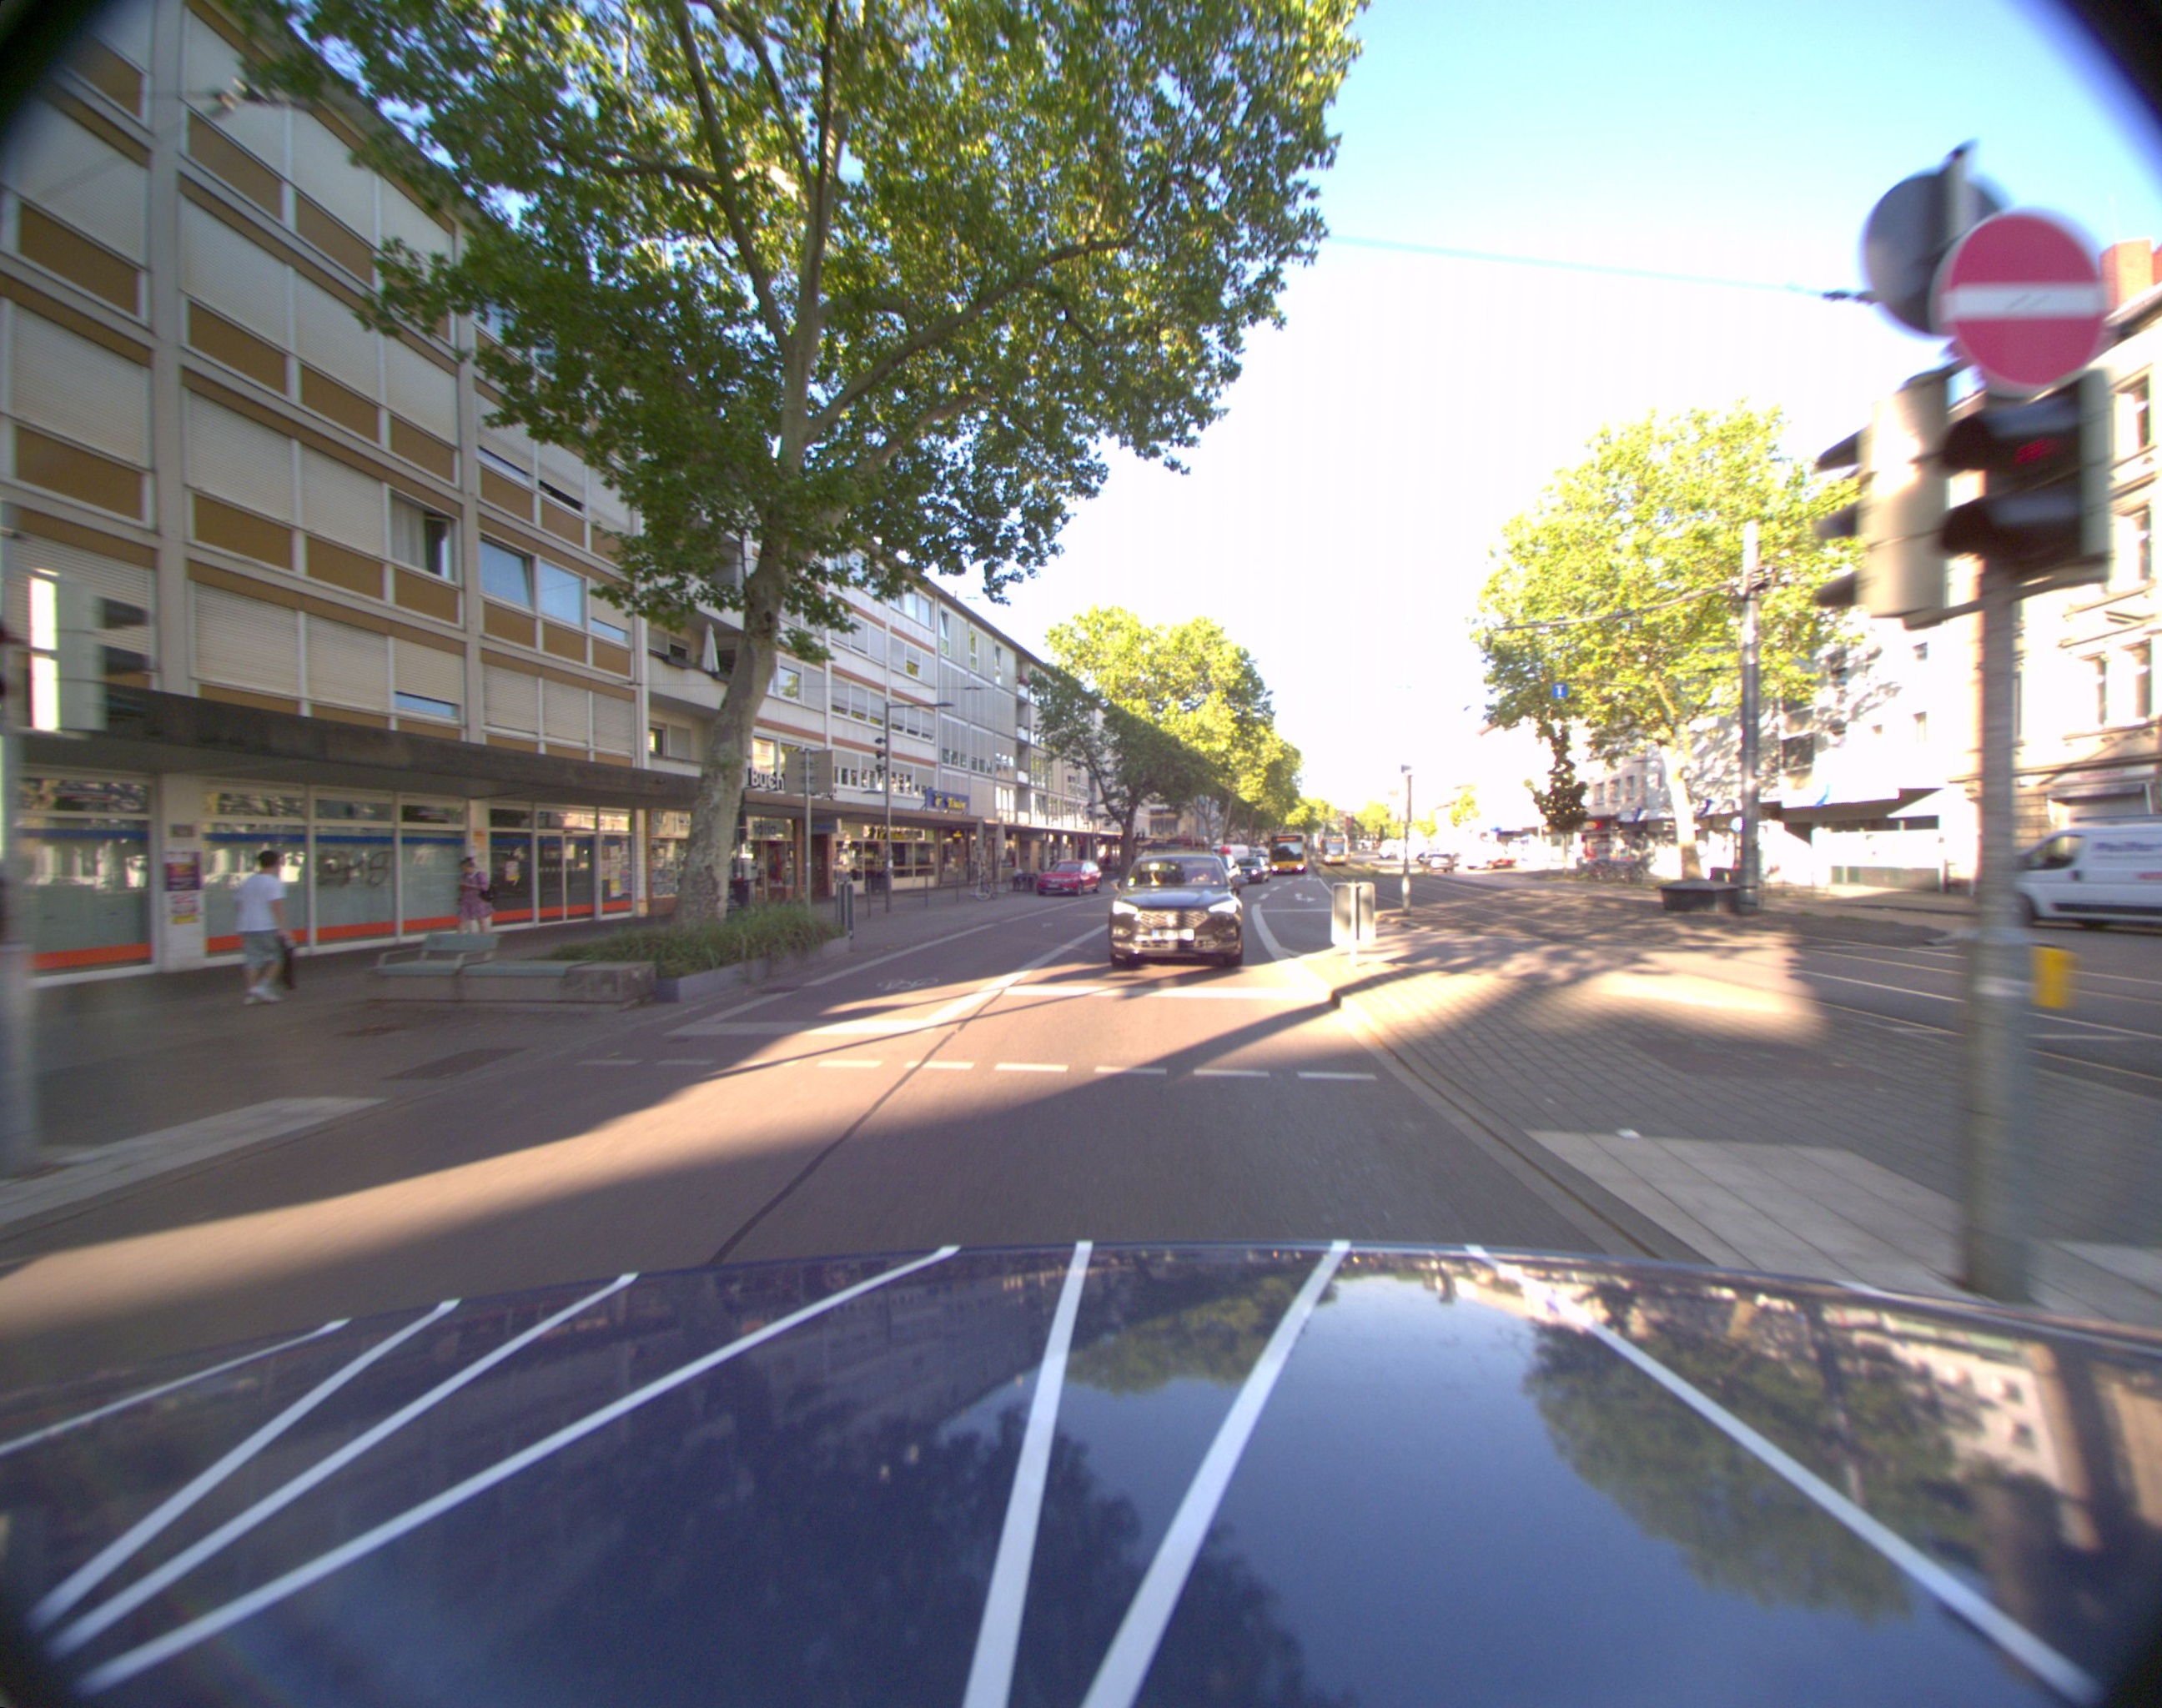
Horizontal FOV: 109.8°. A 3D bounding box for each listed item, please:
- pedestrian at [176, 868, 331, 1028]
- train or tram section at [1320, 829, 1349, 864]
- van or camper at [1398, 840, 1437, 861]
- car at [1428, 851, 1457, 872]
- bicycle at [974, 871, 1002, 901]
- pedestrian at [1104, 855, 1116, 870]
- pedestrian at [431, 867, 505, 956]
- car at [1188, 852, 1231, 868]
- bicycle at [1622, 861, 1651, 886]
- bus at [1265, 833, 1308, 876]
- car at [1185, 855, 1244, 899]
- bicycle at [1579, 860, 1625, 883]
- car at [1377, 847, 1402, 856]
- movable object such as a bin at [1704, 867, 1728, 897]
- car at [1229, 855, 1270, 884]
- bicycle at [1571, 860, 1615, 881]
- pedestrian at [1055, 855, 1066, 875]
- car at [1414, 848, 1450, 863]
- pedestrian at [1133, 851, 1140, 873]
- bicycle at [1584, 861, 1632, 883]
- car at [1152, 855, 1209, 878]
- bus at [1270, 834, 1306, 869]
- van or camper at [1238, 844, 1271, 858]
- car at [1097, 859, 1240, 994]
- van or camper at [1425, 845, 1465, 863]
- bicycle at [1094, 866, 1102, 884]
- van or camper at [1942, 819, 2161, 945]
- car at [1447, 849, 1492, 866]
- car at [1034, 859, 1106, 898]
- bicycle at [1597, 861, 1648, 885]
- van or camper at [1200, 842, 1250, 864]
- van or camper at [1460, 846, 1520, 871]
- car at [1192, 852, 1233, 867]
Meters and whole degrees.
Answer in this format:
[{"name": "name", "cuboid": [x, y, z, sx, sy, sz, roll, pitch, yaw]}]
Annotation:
[{"name": "pedestrian", "cuboid": [-9.307, 1.022, 8.586, 0.837, 1.702, 0.793, 1, 0, -3]}, {"name": "train or tram section", "cuboid": [27.356, -0.817, 81.829, 2.635, 3.430, 11.145, -2, 0, 19]}, {"name": "van or camper", "cuboid": [47.896, -0.482, 108.080, 6.409, 2.651, 1.995, -2, 0, -36]}, {"name": "car", "cuboid": [27.323, 0.541, 57.373, 1.887, 1.464, 4.214, -1, 0, 26]}, {"name": "bicycle", "cuboid": [-3.532, 1.197, 29.009, 0.512, 1.064, 1.663, 1, 1, 12]}, {"name": "pedestrian", "cuboid": [2.533, 0.748, 66.957, 0.749, 1.354, 0.964, 0, 1, 21]}, {"name": "pedestrian", "cuboid": [-11.073, 1.014, 13.745, 0.640, 1.543, 0.808, 1, 1, 8]}, {"name": "car", "cuboid": [12.976, 0.587, 76.836, 4.005, 1.514, 1.656, 0, 2, -24]}, {"name": "bicycle", "cuboid": [25.751, 0.889, 35.232, 0.509, 1.117, 1.913, -1, 0, 18]}, {"name": "bus", "cuboid": [16.414, -0.127, 60.518, 2.869, 2.961, 12.252, -3, 1, 15]}, {"name": "car", "cuboid": [5.257, 0.836, 29.553, 1.656, 1.571, 4.005, -1, 0, 18]}, {"name": "bicycle", "cuboid": [27.378, 0.916, 39.942, 1.896, 1.117, 0.535, -2, 0, 14]}, {"name": "car", "cuboid": [57.513, -0.450, 141.523, 3.915, 1.481, 1.769, -3, 0, -6]}, {"name": "movable object such as a bin", "cuboid": [24.217, 1.063, 28.972, 0.649, 1.087, 0.544, 0, 0, -34]}, {"name": "car", "cuboid": [9.294, 0.821, 41.745, 1.656, 1.477, 4.167, -1, 0, 20]}, {"name": "bicycle", "cuboid": [27.702, 0.902, 41.156, 1.896, 1.117, 0.535, -2, 0, 14]}, {"name": "pedestrian", "cuboid": [-1.426, 0.763, 52.619, 0.537, 1.393, 0.688, 2, 2, 16]}, {"name": "car", "cuboid": [43.789, 0.186, 94.742, 4.005, 1.577, 1.876, -2, 0, -27]}, {"name": "pedestrian", "cuboid": [5.102, 0.757, 69.979, 0.552, 2.002, 0.578, -3, 0, 2]}, {"name": "bicycle", "cuboid": [27.165, 0.928, 39.168, 1.896, 1.117, 0.653, -2, 0, 14]}, {"name": "car", "cuboid": [7.398, 0.907, 56.488, 4.007, 1.597, 1.805, 0, 1, -31]}, {"name": "bus", "cuboid": [19.815, -0.362, 72.282, 2.868, 2.961, 12.253, -3, 1, 17]}, {"name": "van or camper", "cuboid": [30.058, -0.534, 131.691, 5.470, 2.455, 1.996, -1, 1, -26]}, {"name": "car", "cuboid": [1.485, 0.930, 11.656, 1.806, 1.638, 4.003, -1, 0, 11]}, {"name": "van or camper", "cuboid": [42.154, -0.005, 88.014, 4.457, 1.978, 1.796, -2, 0, -28]}, {"name": "bicycle", "cuboid": [1.005, 1.221, 44.480, 0.294, 1.034, 1.719, 3, 1, 7]}, {"name": "van or camper", "cuboid": [20.864, 0.541, 14.796, 2.174, 2.305, 5.101, 1, 0, -5]}, {"name": "car", "cuboid": [38.352, 0.372, 74.926, 4.458, 1.481, 1.766, -2, 0, -30]}, {"name": "car", "cuboid": [-0.406, 1.001, 33.323, 1.780, 1.488, 4.573, 1, 1, 17]}, {"name": "bicycle", "cuboid": [26.719, 0.943, 37.509, 1.896, 1.117, 0.653, -2, 0, 14]}, {"name": "van or camper", "cuboid": [16.433, -0.113, 86.817, 5.469, 2.455, 1.996, -1, 1, -24]}, {"name": "van or camper", "cuboid": [34.557, 0.346, 64.228, 4.821, 1.886, 1.947, -2, 0, -26]}, {"name": "car", "cuboid": [13.845, 0.569, 79.874, 4.005, 1.555, 1.656, 0, 2, -24]}]
